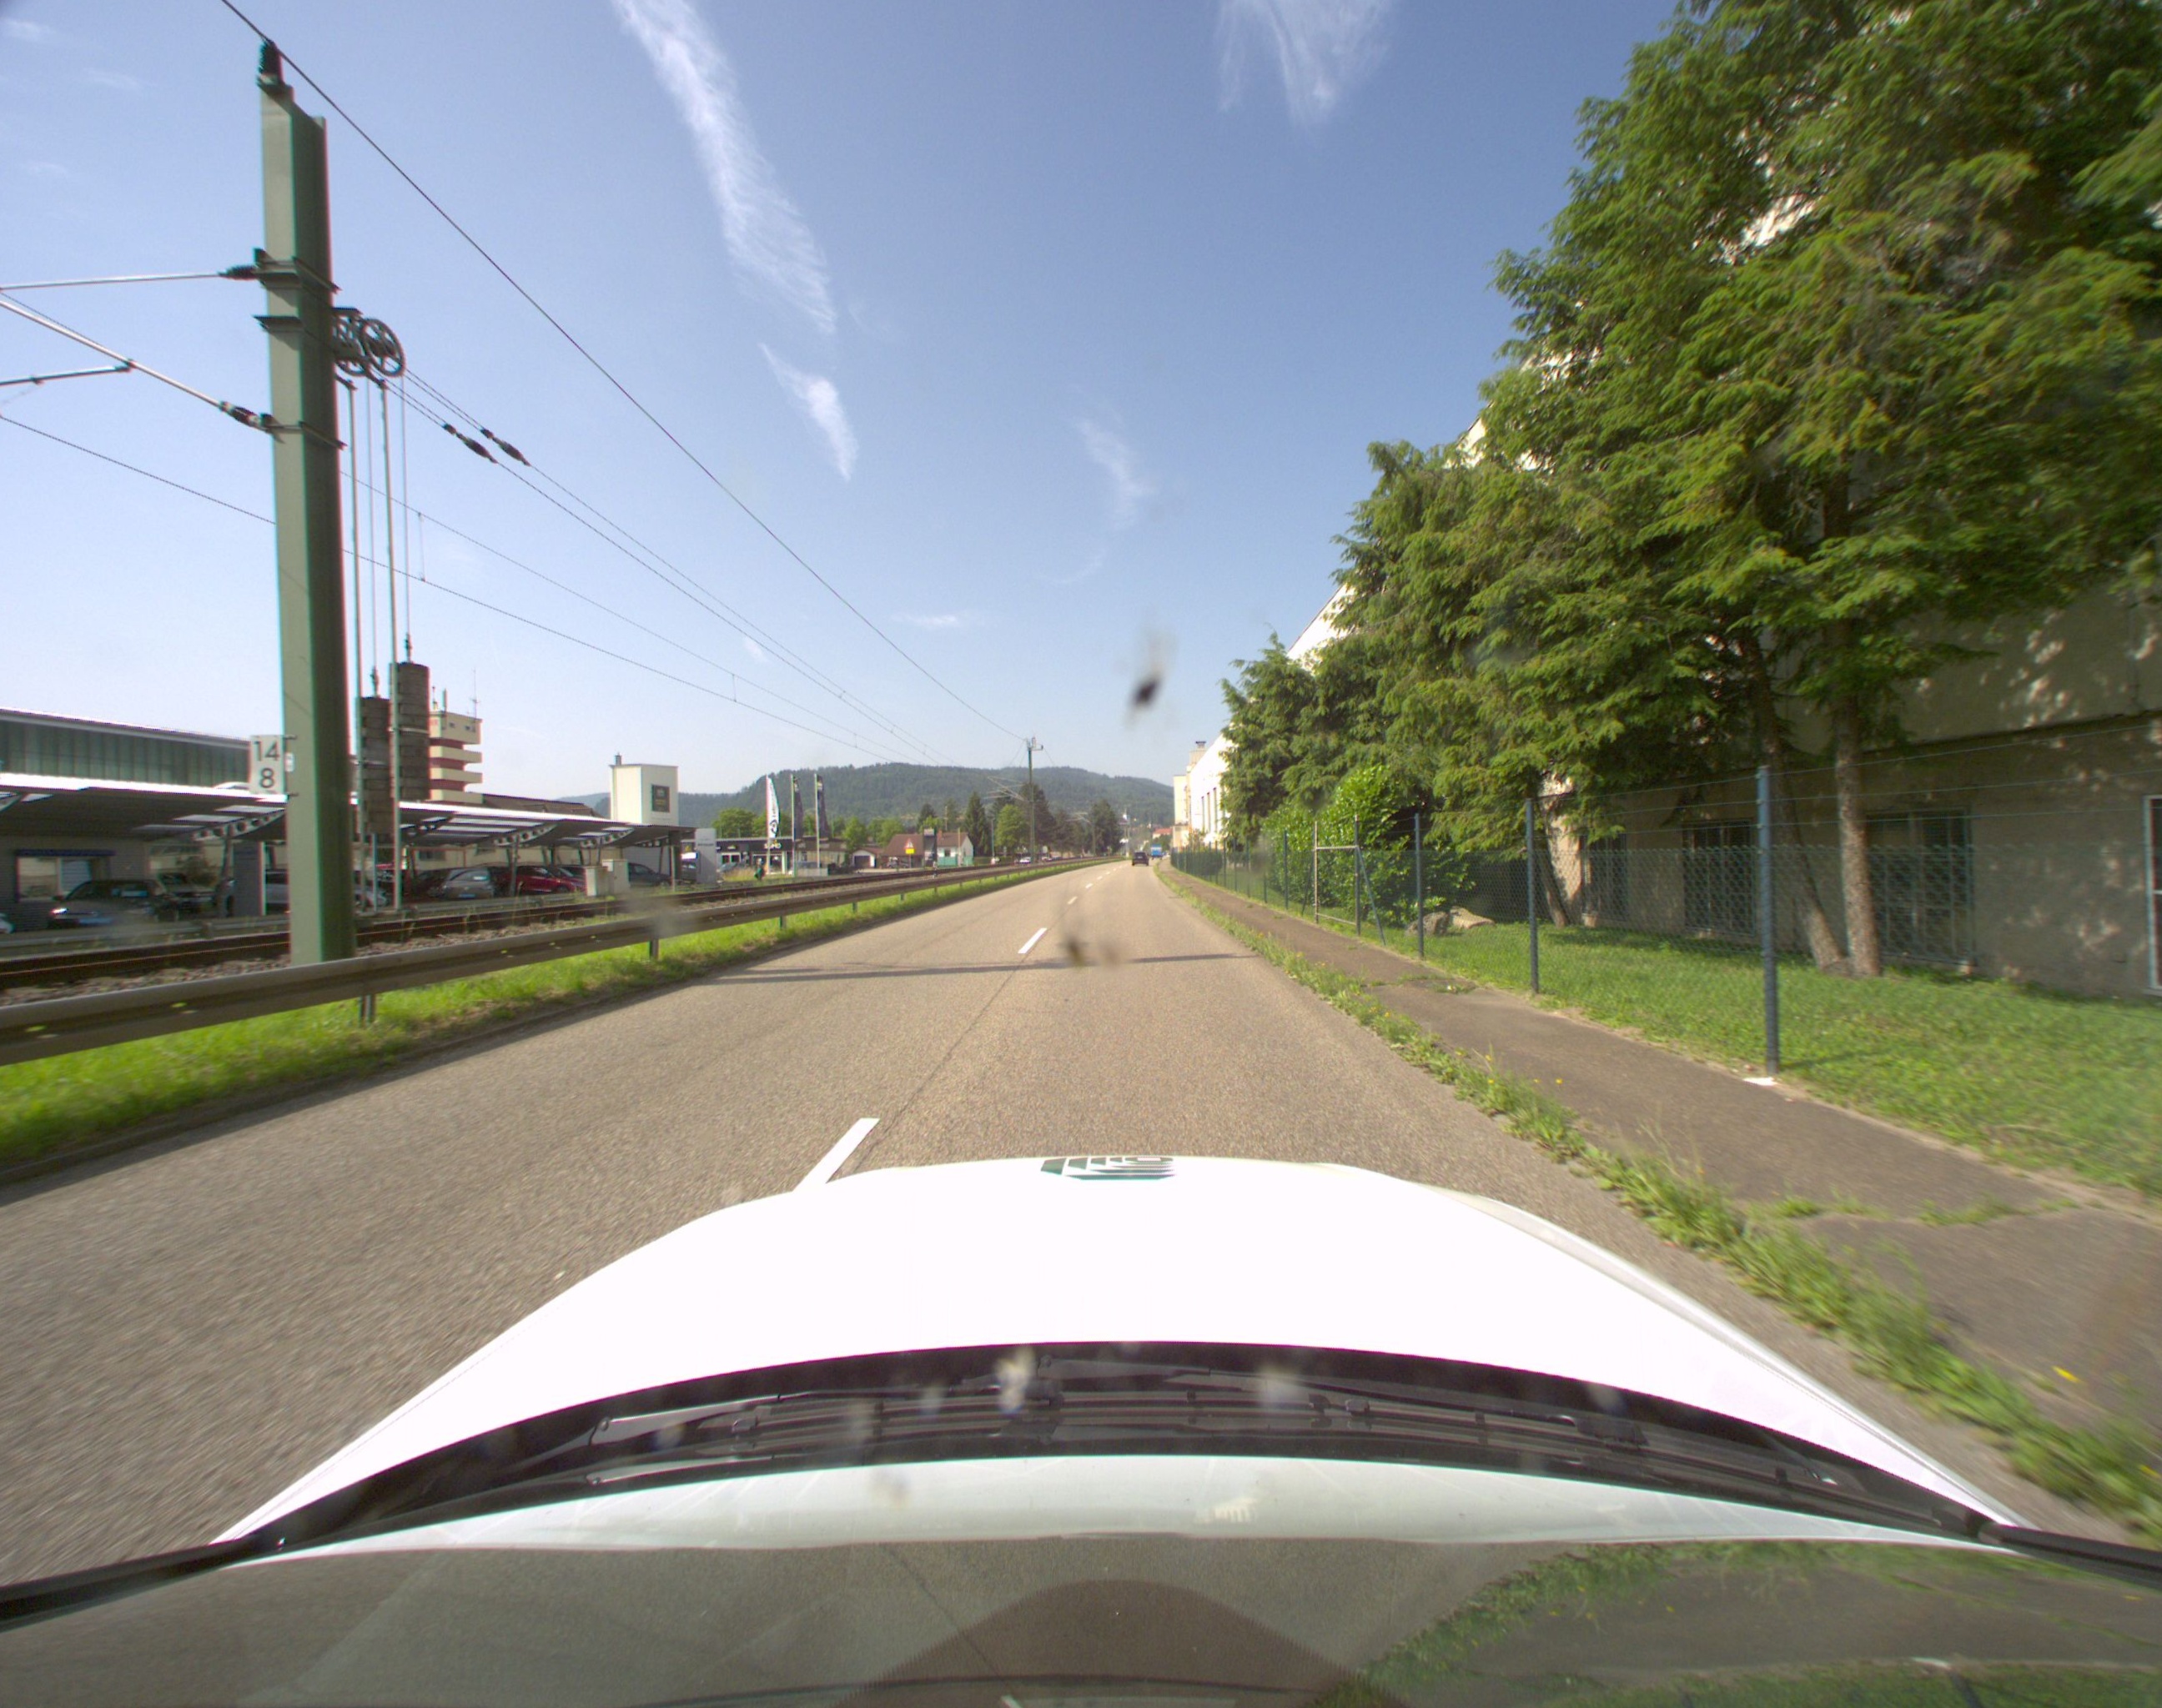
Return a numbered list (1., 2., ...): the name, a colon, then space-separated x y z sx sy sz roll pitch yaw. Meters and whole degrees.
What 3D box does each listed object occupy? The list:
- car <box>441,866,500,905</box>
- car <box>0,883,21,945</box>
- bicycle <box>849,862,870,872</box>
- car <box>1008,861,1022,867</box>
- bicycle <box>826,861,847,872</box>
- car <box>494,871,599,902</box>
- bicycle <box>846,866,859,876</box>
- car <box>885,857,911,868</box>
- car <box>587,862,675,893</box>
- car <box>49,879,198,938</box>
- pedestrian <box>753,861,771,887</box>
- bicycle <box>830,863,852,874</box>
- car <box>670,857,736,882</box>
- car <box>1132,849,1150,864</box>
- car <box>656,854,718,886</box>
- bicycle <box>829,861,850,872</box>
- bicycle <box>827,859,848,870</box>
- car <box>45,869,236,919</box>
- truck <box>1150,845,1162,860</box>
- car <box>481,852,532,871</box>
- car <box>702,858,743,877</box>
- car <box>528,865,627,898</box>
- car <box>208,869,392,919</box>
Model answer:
1. car: -25.744 1.270 34.453 1.855 1.505 4.387 -1 0 -35
2. car: -26.106 1.395 17.090 1.823 1.385 4.552 -1 0 32
3. bicycle: -26.034 1.543 95.767 2.164 1.130 0.728 -2 -1 -6
4. car: -15.609 2.369 192.962 1.695 1.443 3.810 -2 0 -36
5. bicycle: -27.609 1.397 92.070 2.158 1.130 0.731 -2 -1 3
6. car: -25.370 1.513 38.714 3.942 1.325 1.502 1 0 1
7. bicycle: -25.864 1.894 92.083 0.725 1.130 2.176 -2 -1 3
8. car: -30.679 1.416 136.614 3.816 1.651 1.716 -2 0 6
9. car: -25.427 1.301 46.076 4.054 1.622 1.643 1 0 -45
10. car: -25.960 1.400 22.243 1.856 1.342 4.160 -1 0 -39
11. pedestrian: -22.015 1.364 56.197 0.799 1.734 0.836 -2 0 1
12. bicycle: -26.273 1.578 89.249 0.721 1.130 2.337 -2 -1 38
13. car: -26.928 1.111 58.070 4.013 1.530 1.508 4 -3 -32
14. car: 6.845 0.251 92.972 1.910 1.640 4.006 -1 0 5
15. car: -34.919 1.458 72.450 2.364 2.633 6.162 -2 -2 2
16. bicycle: -27.824 1.444 93.935 2.164 1.130 0.728 -2 -1 -6
17. bicycle: -27.832 1.189 92.962 2.164 1.130 0.728 -2 -1 -6
18. car: -31.760 1.325 27.596 4.150 1.505 1.908 -1 0 -1
19. truck: 15.369 -0.287 166.094 2.300 2.970 5.976 -1 0 6
20. car: -42.274 0.549 60.010 1.450 1.298 3.482 -2 0 -4
21. car: -32.056 1.236 72.952 1.861 1.664 4.000 -2 -1 1
22. car: -25.551 1.360 41.431 3.942 1.528 1.663 1 0 1
23. car: -26.255 1.313 27.607 4.291 1.528 1.826 1 0 -38
